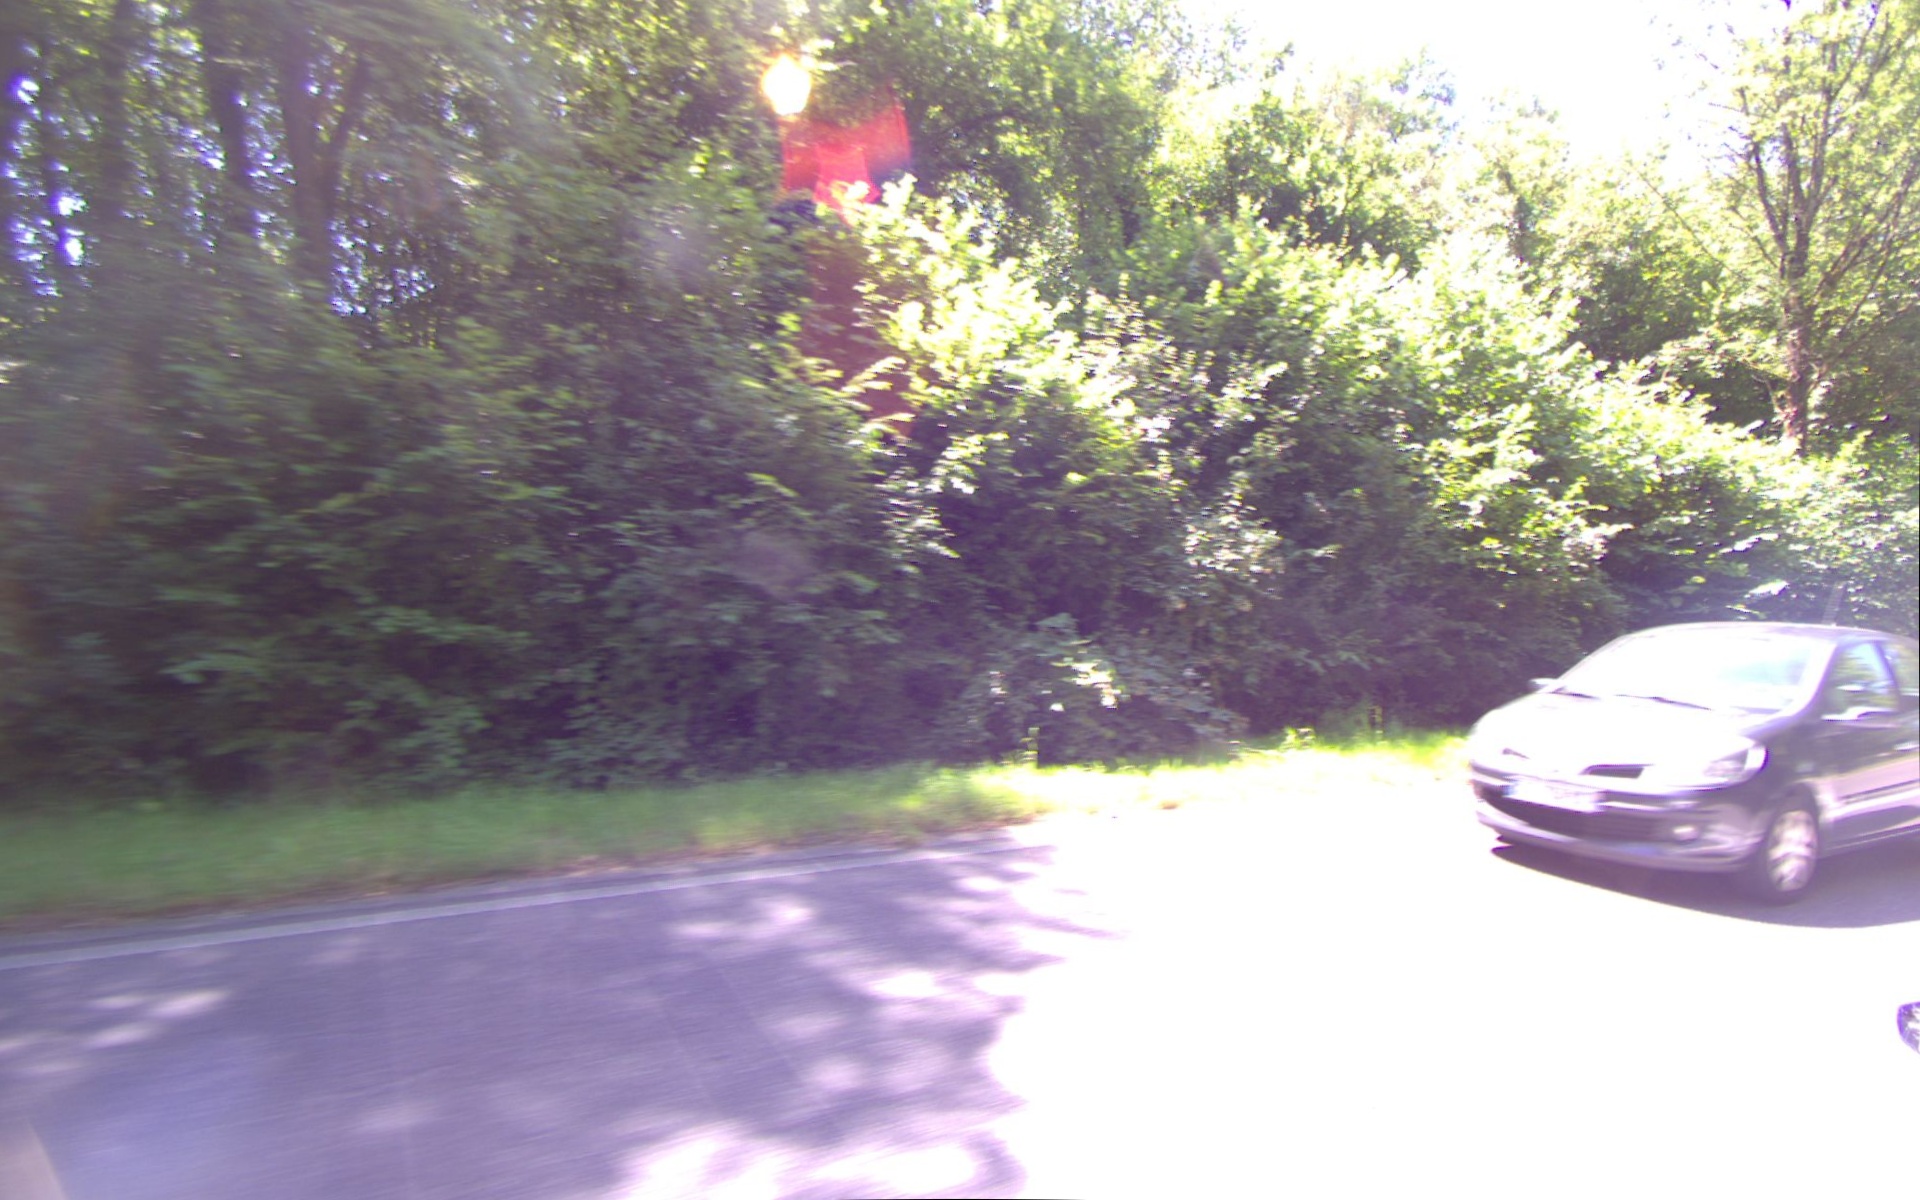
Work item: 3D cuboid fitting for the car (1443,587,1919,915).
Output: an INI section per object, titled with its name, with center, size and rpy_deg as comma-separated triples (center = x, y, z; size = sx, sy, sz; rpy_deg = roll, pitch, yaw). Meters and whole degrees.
[car]
center = 5.146, 0.825, 6.570
size = 3.847, 1.594, 1.670
rpy_deg = 2, -2, -29
